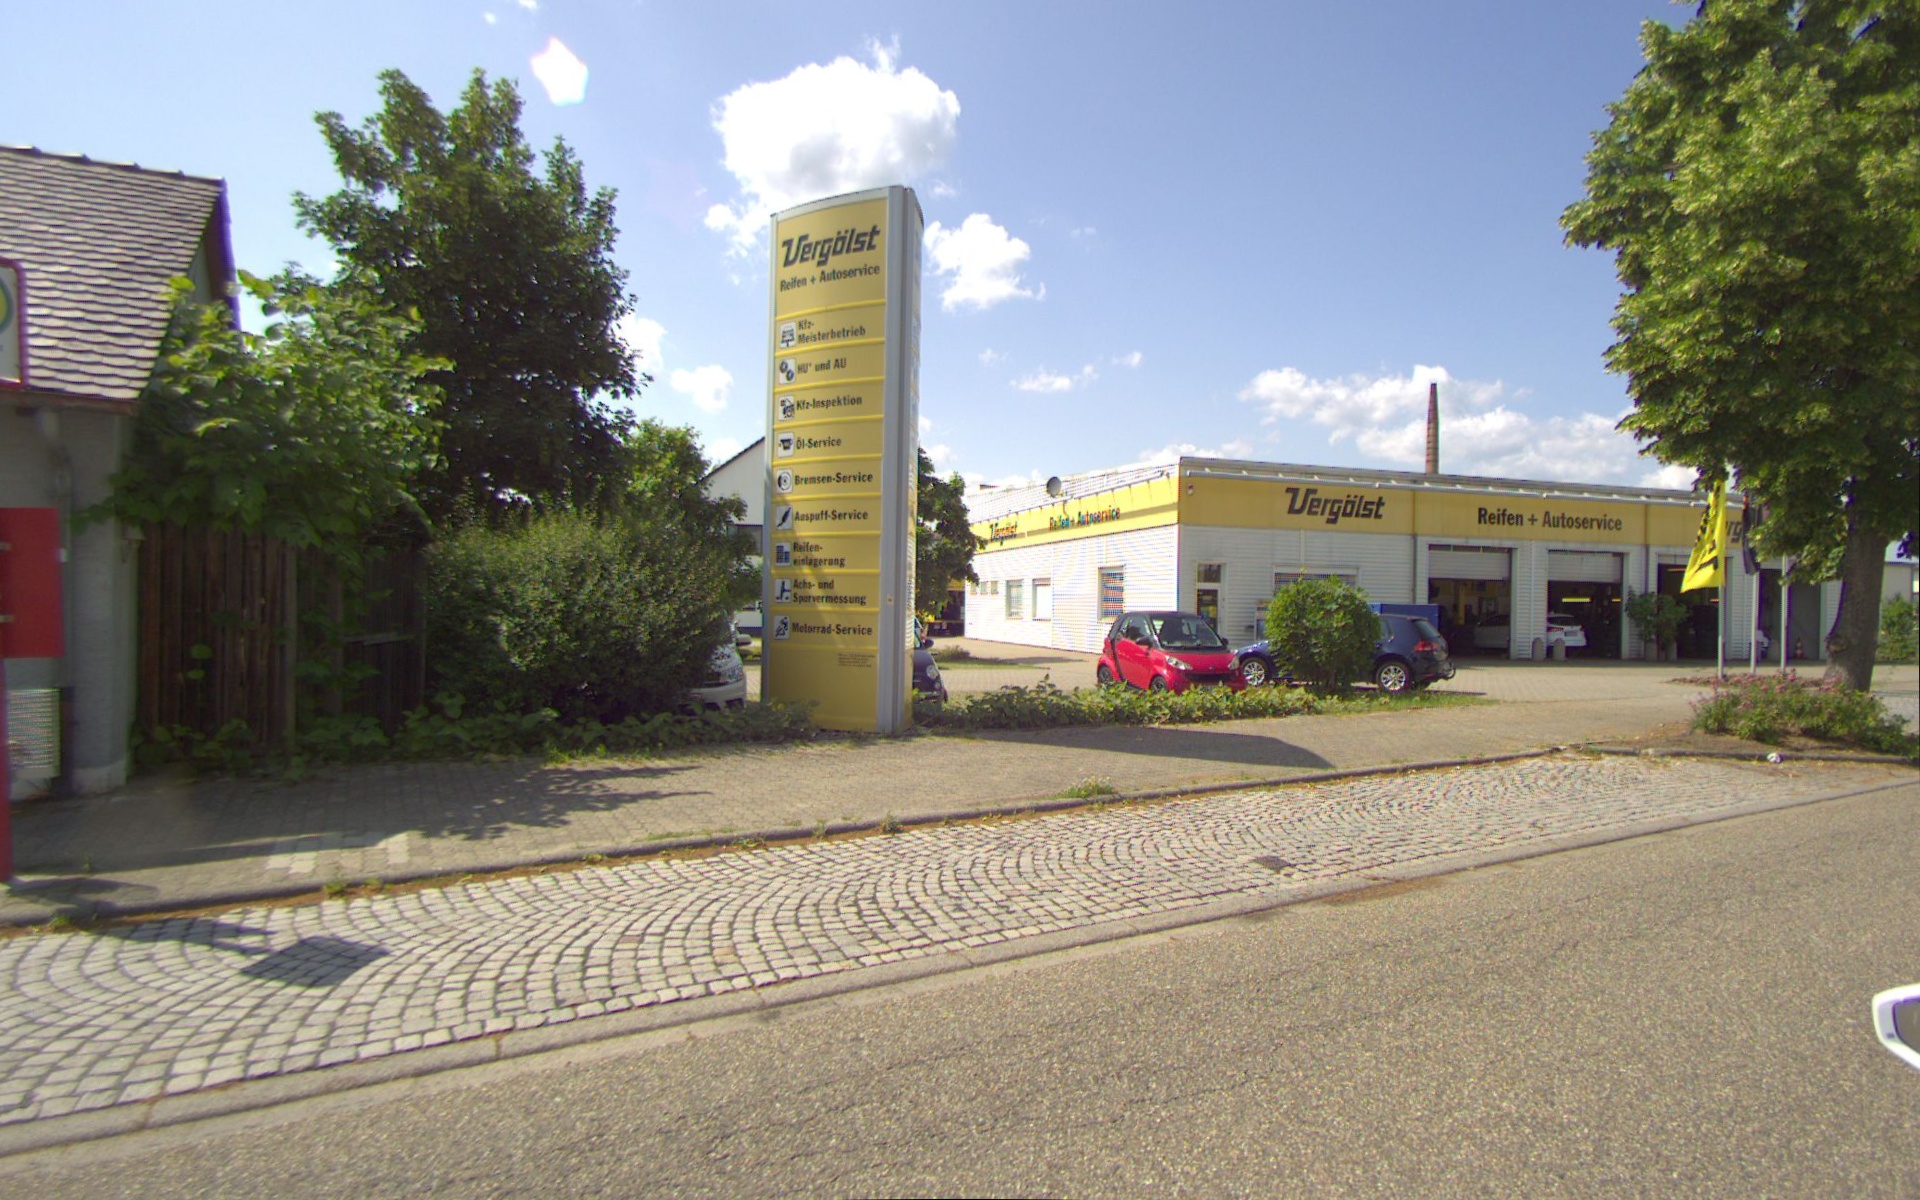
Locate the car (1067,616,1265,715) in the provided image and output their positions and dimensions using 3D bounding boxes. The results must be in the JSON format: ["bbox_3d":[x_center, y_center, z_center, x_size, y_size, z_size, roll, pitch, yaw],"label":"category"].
[{"bbox_3d":[3.386,1.037,17.288,1.703,1.441,3.835,1,0,-17],"label":"car"}]

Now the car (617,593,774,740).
[{"bbox_3d":[-3.718,0.783,13.696,1.764,1.694,3.762,1,0,-19],"label":"car"}]

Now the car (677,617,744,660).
[{"bbox_3d":[-8.082,1.200,32.352,1.652,1.172,3.464,1,1,-22],"label":"car"}]

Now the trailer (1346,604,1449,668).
[{"bbox_3d":[11.787,0.956,27.118,2.169,1.672,1.370,1,0,-15],"label":"trailer"}]

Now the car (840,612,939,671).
[{"bbox_3d":[-1.964,1.057,26.689,1.894,1.409,3.987,1,0,-15],"label":"car"}]

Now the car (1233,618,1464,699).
[{"bbox_3d":[7.388,1.057,19.276,3.745,1.396,1.869,-1,-2,41],"label":"car"}]

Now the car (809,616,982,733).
[{"bbox_3d":[-1.055,0.991,14.719,1.637,1.441,3.403,1,0,-20],"label":"car"}]

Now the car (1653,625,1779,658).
[{"bbox_3d":[28.018,1.518,37.359,1.515,1.051,3.637,1,0,-12],"label":"car"}]

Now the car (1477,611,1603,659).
[{"bbox_3d":[19.764,1.150,34.441,1.951,1.483,3.999,1,0,-2],"label":"car"}]
